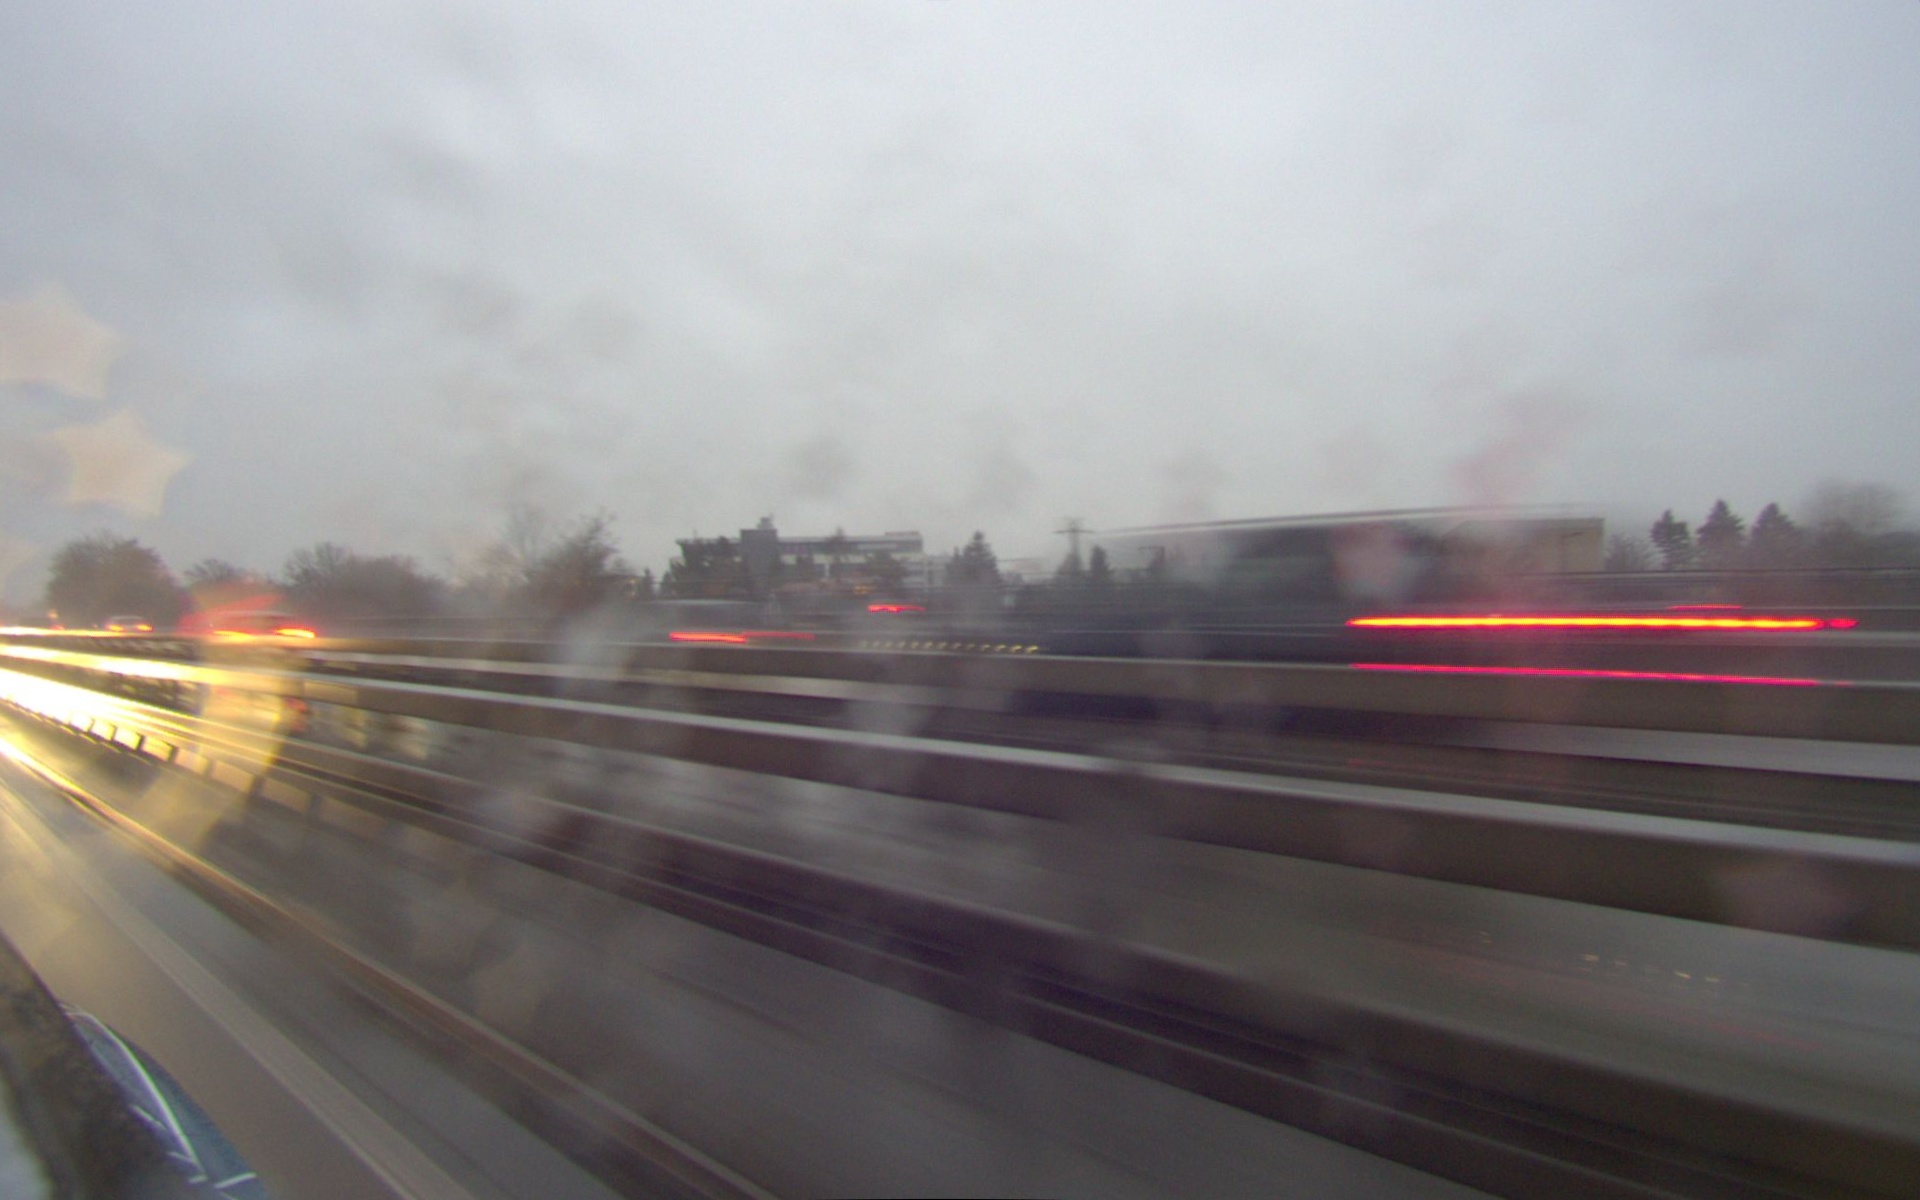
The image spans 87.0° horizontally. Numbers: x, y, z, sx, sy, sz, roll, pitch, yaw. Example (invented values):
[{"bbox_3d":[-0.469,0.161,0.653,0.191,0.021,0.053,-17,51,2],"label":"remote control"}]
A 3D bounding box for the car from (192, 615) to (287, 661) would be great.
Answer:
[{"bbox_3d":[-26.009,1.350,36.484,4.198,1.535,1.947,-2,-1,42],"label":"car"}]

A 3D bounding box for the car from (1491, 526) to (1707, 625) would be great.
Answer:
[{"bbox_3d":[14.929,-0.494,23.743,3.998,2.029,1.973,-3,-2,41],"label":"car"}]

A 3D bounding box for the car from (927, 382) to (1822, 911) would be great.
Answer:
[{"bbox_3d":[2.325,0.224,6.675,5.050,2.231,1.973,-1,0,41],"label":"car"}]

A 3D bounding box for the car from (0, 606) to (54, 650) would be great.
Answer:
[{"bbox_3d":[-46.817,1.410,50.453,4.372,2.068,1.944,-2,-1,42],"label":"car"}]

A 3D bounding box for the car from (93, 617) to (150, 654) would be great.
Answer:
[{"bbox_3d":[-44.036,1.851,53.132,3.998,1.829,1.724,-2,-1,41],"label":"car"}]

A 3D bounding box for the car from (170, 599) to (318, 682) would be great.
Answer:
[{"bbox_3d":[-16.747,0.898,23.609,3.999,1.741,1.972,-1,0,42],"label":"car"}]

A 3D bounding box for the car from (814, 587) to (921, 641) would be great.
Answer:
[{"bbox_3d":[-3.692,0.551,39.904,3.998,2.029,1.973,-2,0,41],"label":"car"}]

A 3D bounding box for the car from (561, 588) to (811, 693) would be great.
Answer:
[{"bbox_3d":[-4.904,0.659,17.764,4.654,1.608,1.973,-2,0,41],"label":"car"}]
